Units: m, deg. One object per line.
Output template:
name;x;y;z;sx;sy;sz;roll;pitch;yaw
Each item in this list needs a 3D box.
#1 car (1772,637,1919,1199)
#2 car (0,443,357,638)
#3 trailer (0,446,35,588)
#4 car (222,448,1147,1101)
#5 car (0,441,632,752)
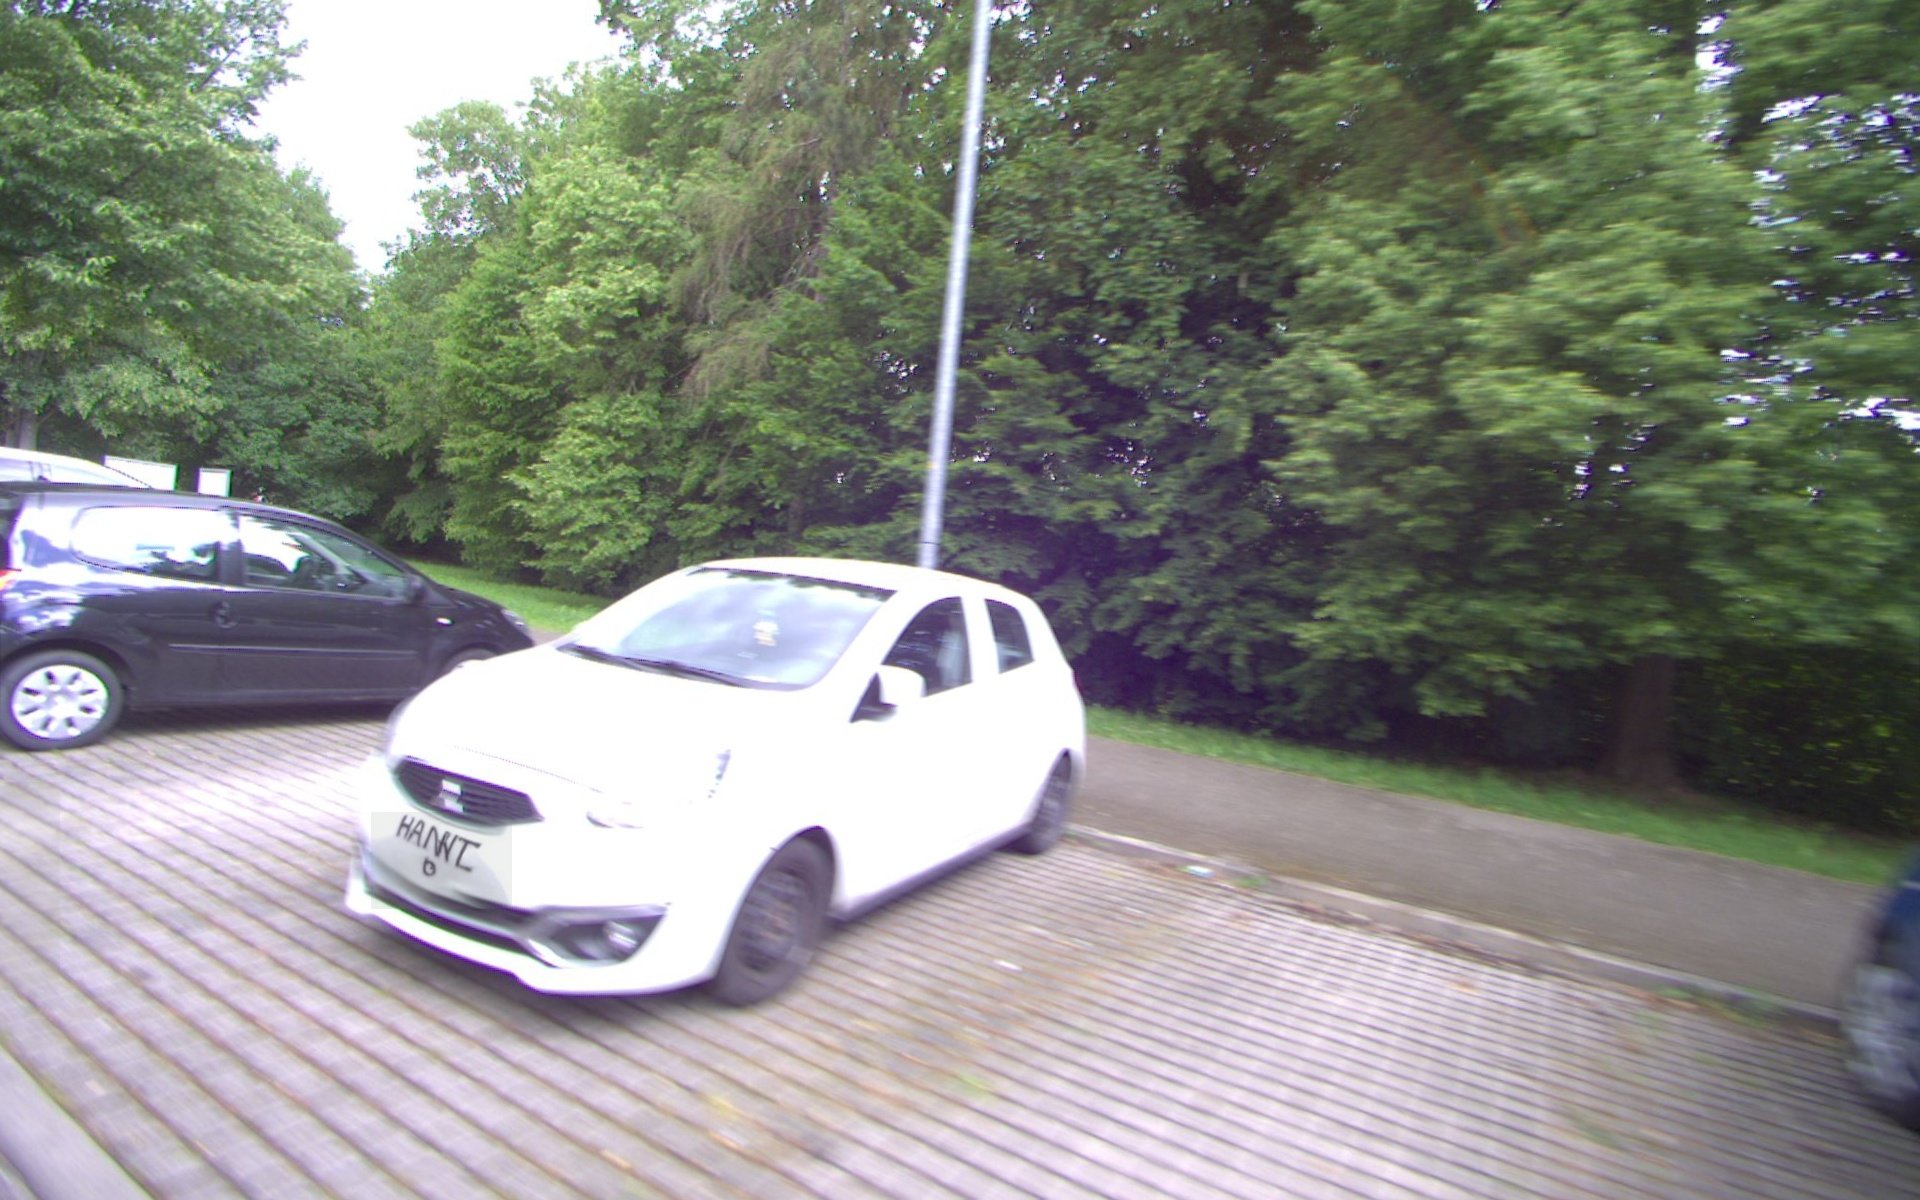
car;3.351;0.960;2.120;1.755;1.590;4.139;7;1;30
car;-9.003;-0.605;9.924;1.943;1.715;4.815;7;2;35
trailer;-13.580;-1.173;12.257;1.536;1.814;3.032;7;2;29
car;-0.655;0.472;4.764;1.755;1.590;4.165;7;1;28
car;-4.681;-0.001;7.134;1.821;1.590;4.159;7;1;33
